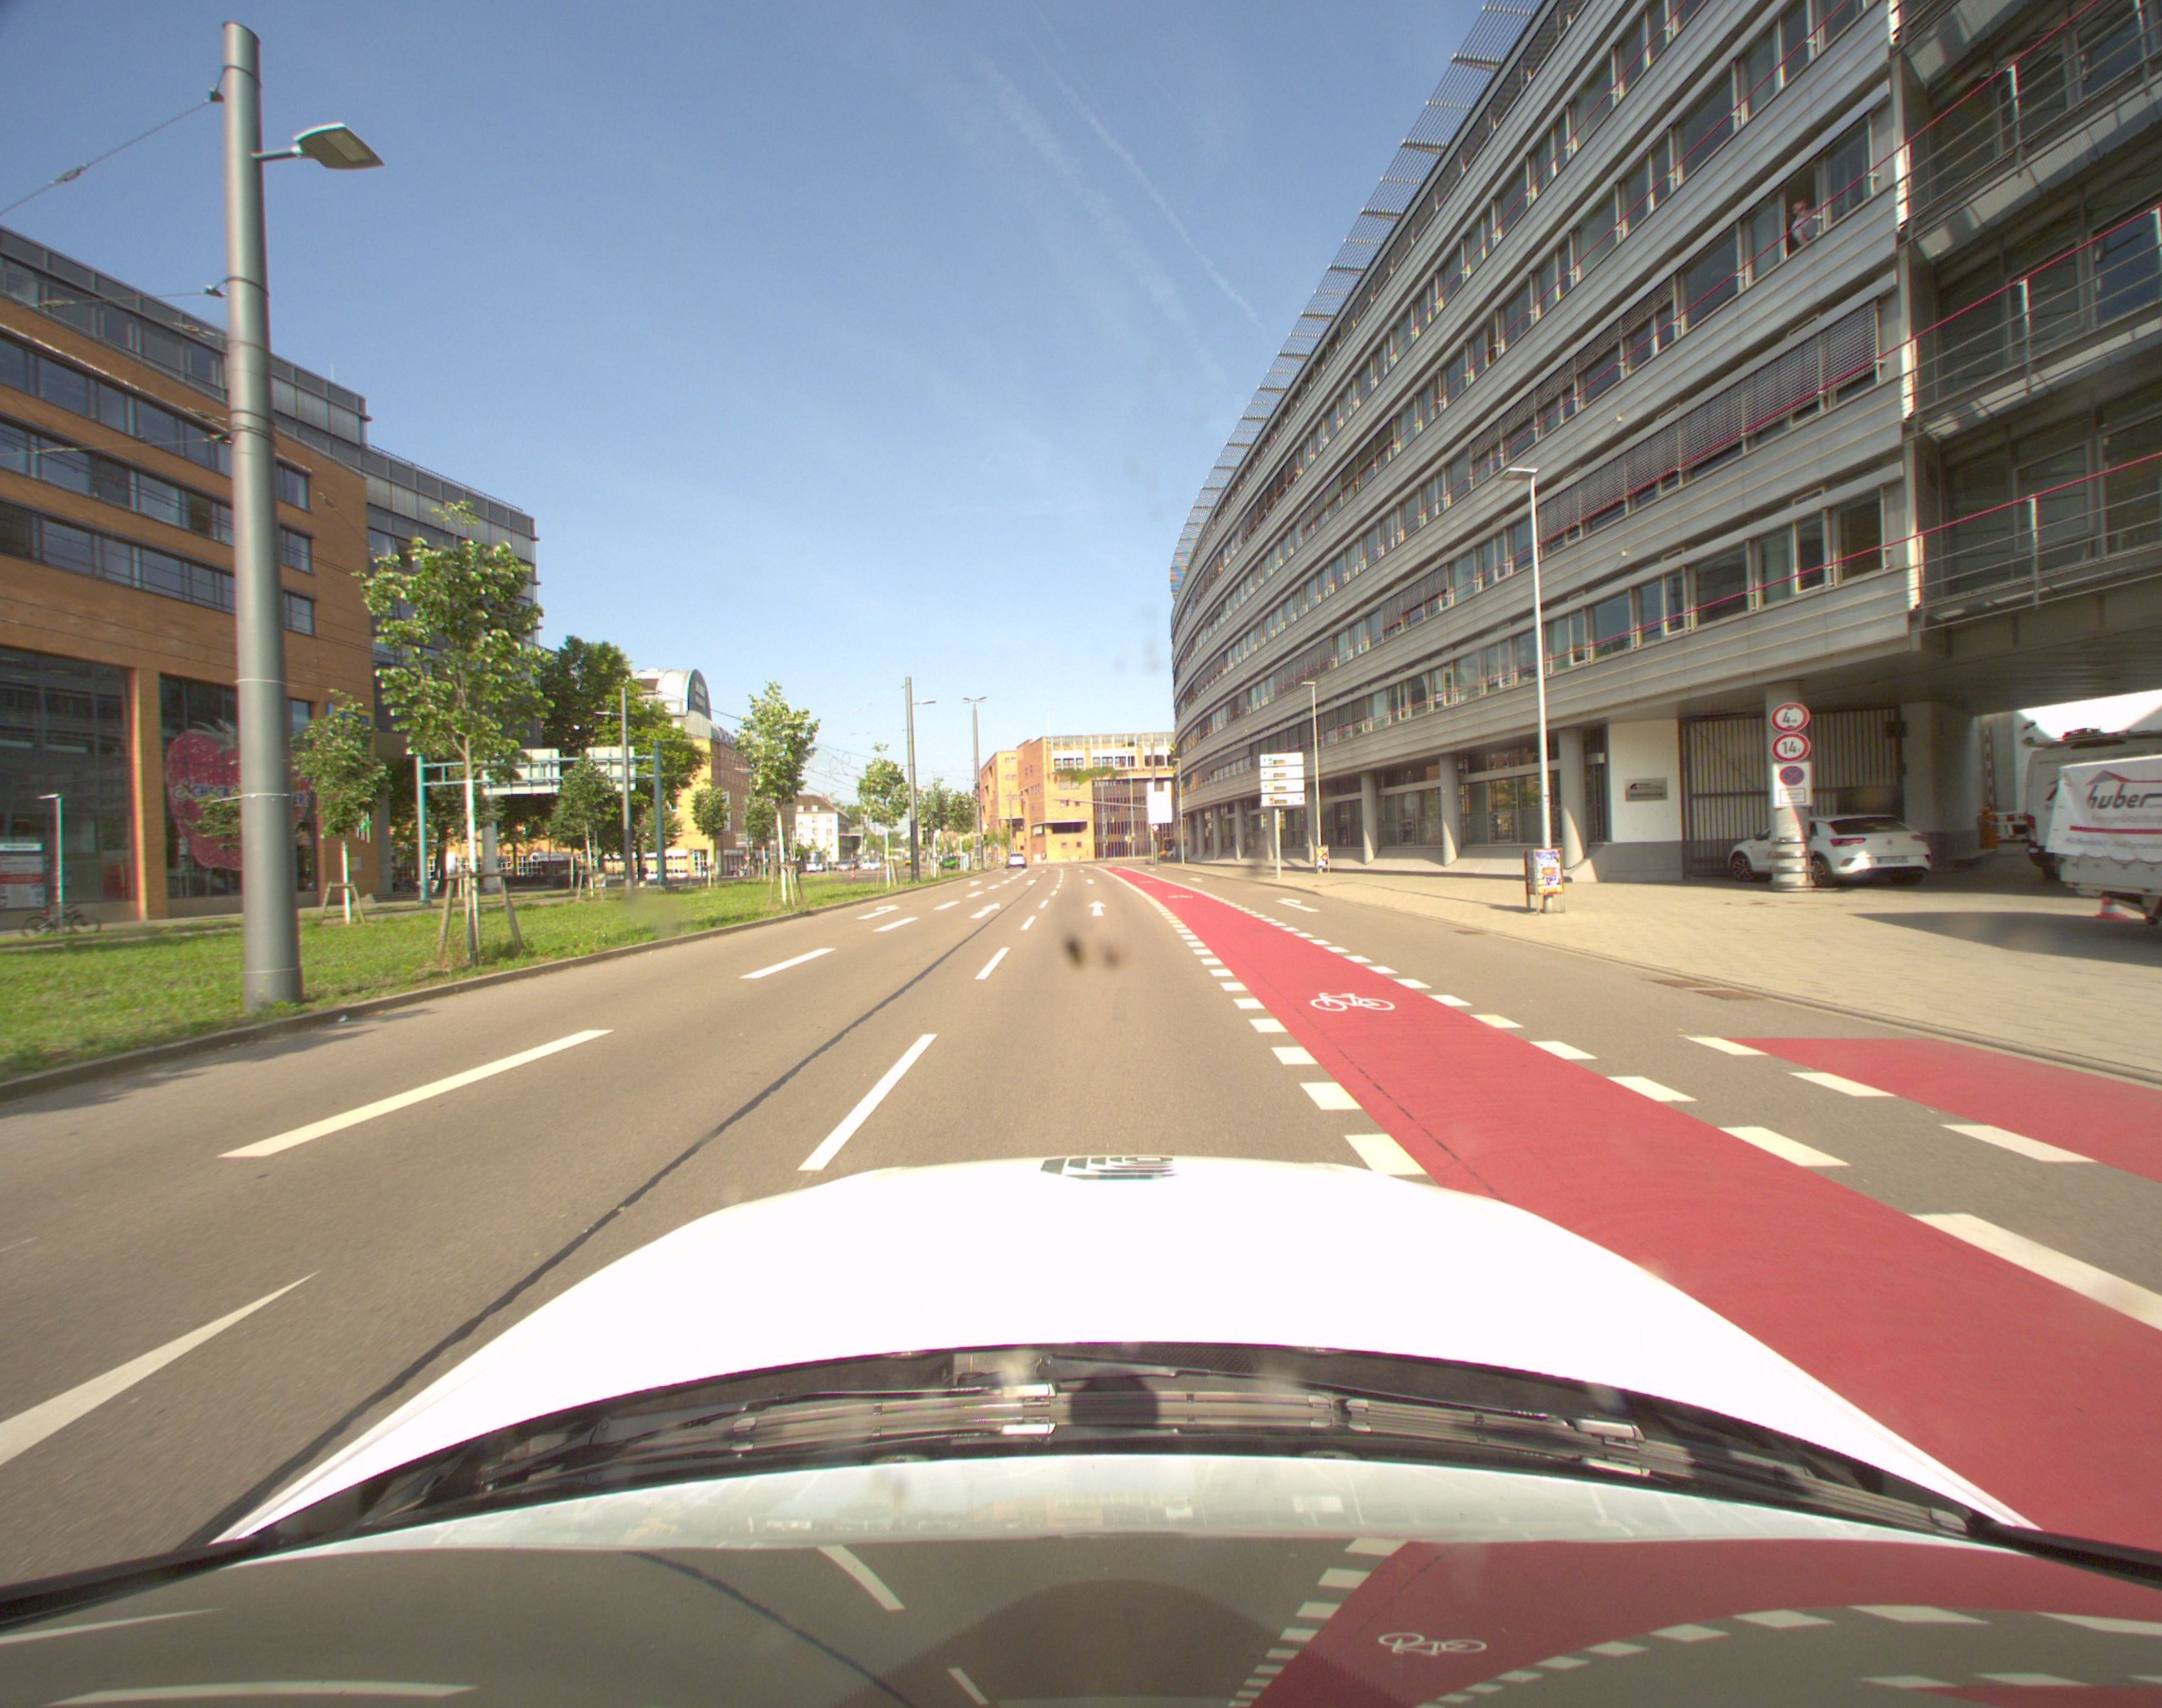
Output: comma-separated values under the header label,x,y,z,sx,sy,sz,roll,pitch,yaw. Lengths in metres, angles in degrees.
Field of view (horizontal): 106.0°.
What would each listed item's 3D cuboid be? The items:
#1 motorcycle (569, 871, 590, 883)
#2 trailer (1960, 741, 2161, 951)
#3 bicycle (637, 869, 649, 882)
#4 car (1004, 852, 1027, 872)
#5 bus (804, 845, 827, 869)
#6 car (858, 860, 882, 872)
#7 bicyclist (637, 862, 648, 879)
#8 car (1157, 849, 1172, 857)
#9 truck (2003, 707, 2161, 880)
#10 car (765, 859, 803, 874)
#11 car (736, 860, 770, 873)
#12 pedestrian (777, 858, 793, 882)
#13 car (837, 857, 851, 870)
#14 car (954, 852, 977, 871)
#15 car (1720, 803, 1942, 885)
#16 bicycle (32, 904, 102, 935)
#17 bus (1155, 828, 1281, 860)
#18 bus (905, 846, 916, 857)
label,x,y,z,sx,sy,sz,roll,pitch,yaw
motorcycle,-48.254,2.224,78.376,1.690,0.995,0.283,-2,1,-10
trailer,12.428,-0.126,8.477,2.367,2.151,5.984,-2,0,26
bicycle,-45.339,2.222,84.264,0.553,1.206,2.259,-1,-2,-44
car,-6.144,0.747,76.061,1.706,1.755,3.874,-2,-1,-12
bus,-45.806,0.505,140.584,2.751,3.921,12.157,-2,0,-14
car,-28.186,1.609,108.744,1.744,1.542,3.406,-1,-2,-41
bicyclist,-45.412,1.678,84.333,0.670,1.747,0.955,-1,-2,-43
car,11.559,-0.152,112.940,1.947,0.958,1.092,0,-2,-4
truck,21.747,-1.339,17.191,6.176,3.096,1.979,-6,1,-33
car,-37.031,1.569,101.480,3.976,1.678,1.999,-2,-1,-2
car,-42.925,1.629,106.610,3.594,1.623,1.870,-2,0,5
pedestrian,-26.297,1.413,72.302,1.157,2.014,0.772,-2,-2,-13
car,-35.160,1.398,121.081,1.687,1.634,4.372,-3,2,-14
car,-13.098,0.894,92.352,1.988,2.014,4.240,-2,-1,-1
car,16.574,-0.245,18.308,1.733,1.589,4.011,-2,1,9
bicycle,-33.518,2.161,26.921,1.665,0.907,0.711,-2,-1,9
bus,19.543,-1.475,116.741,17.565,3.810,2.862,-2,-2,-2
bus,-35.139,-0.519,167.948,1.997,2.014,3.980,-2,-1,-15
